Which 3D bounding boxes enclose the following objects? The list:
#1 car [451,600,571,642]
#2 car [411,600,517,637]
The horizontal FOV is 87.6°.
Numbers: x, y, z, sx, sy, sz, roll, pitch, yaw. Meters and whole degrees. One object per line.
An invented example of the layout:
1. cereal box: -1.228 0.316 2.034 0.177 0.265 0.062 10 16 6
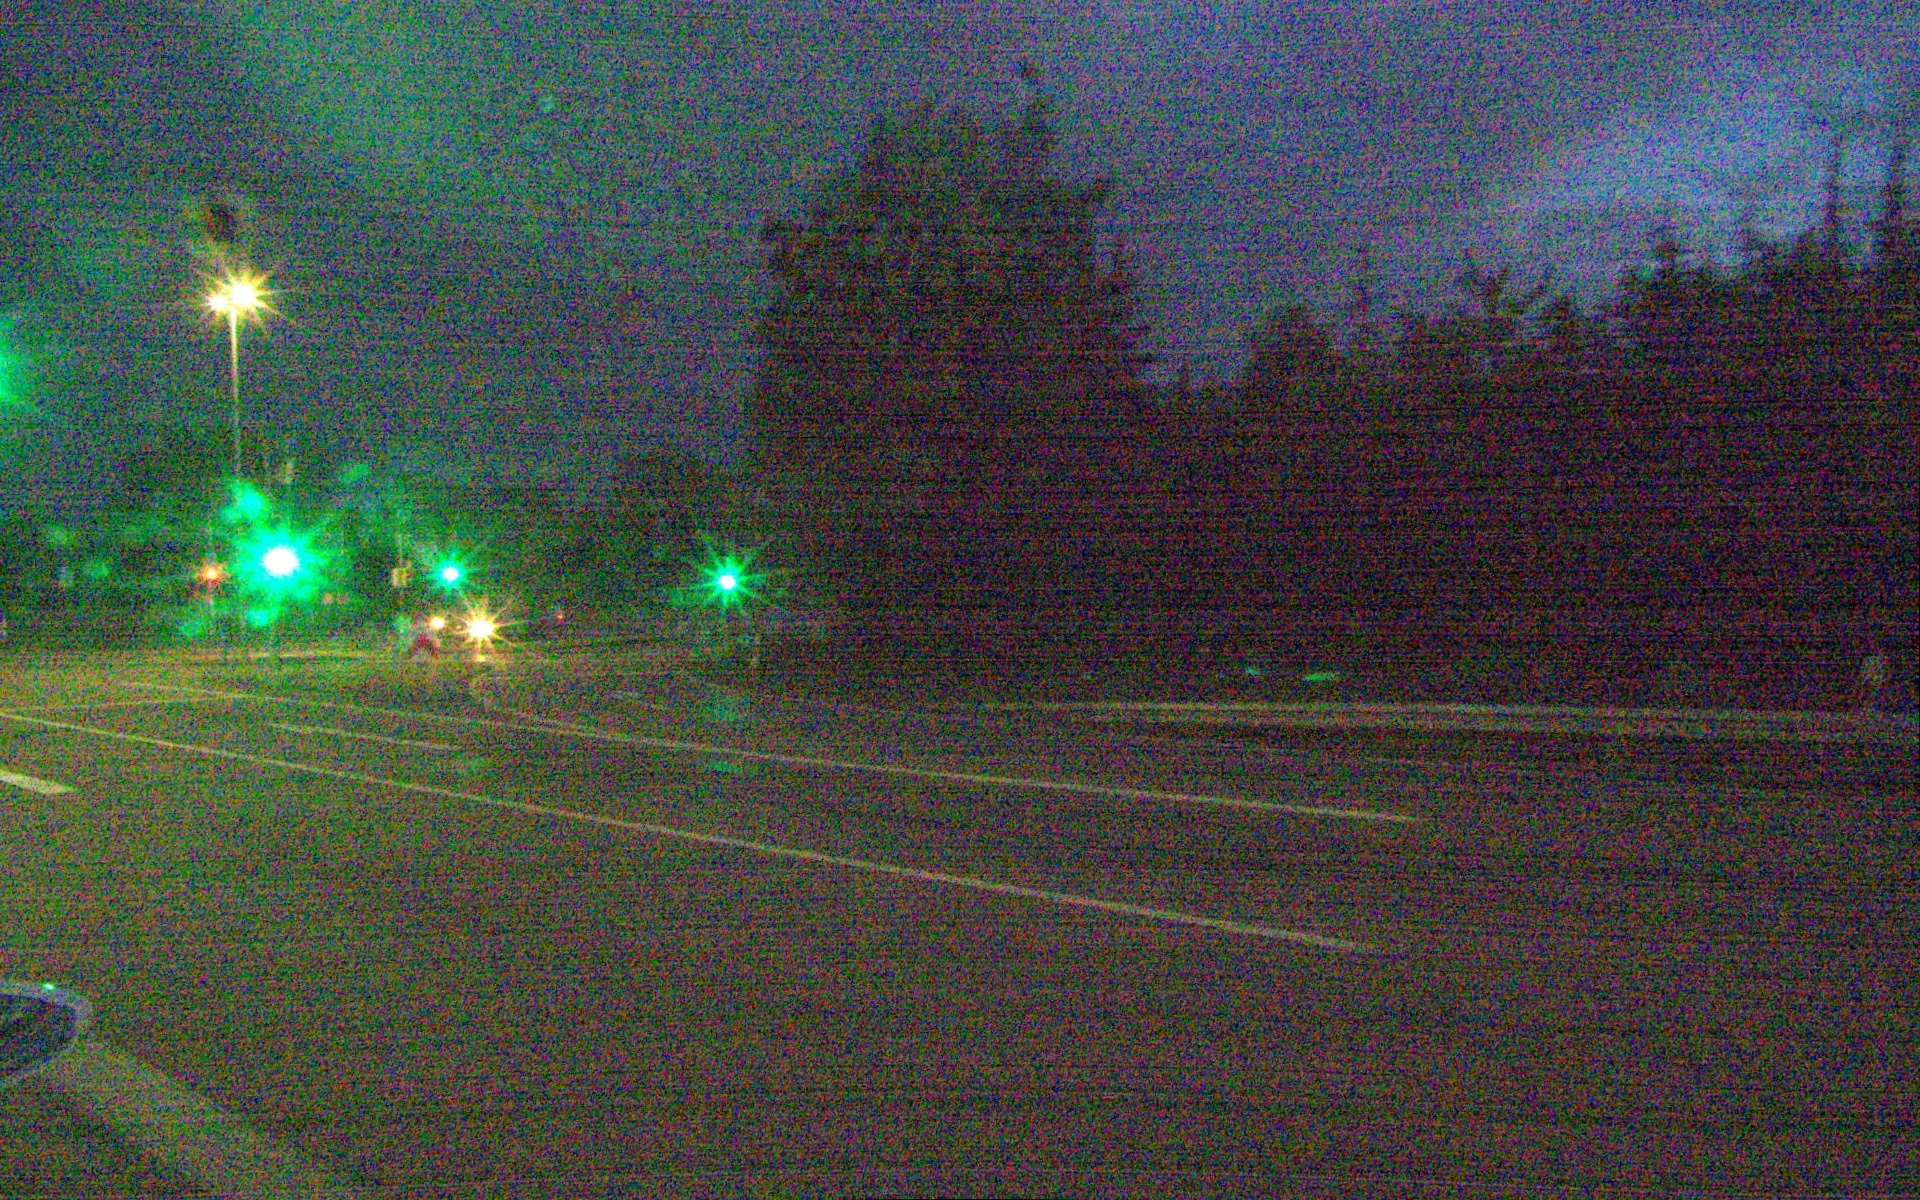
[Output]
1. car: -17.924 0.826 40.156 1.972 1.590 4.069 0 0 29
2. car: -22.555 0.826 45.681 1.871 1.590 3.982 1 0 29
